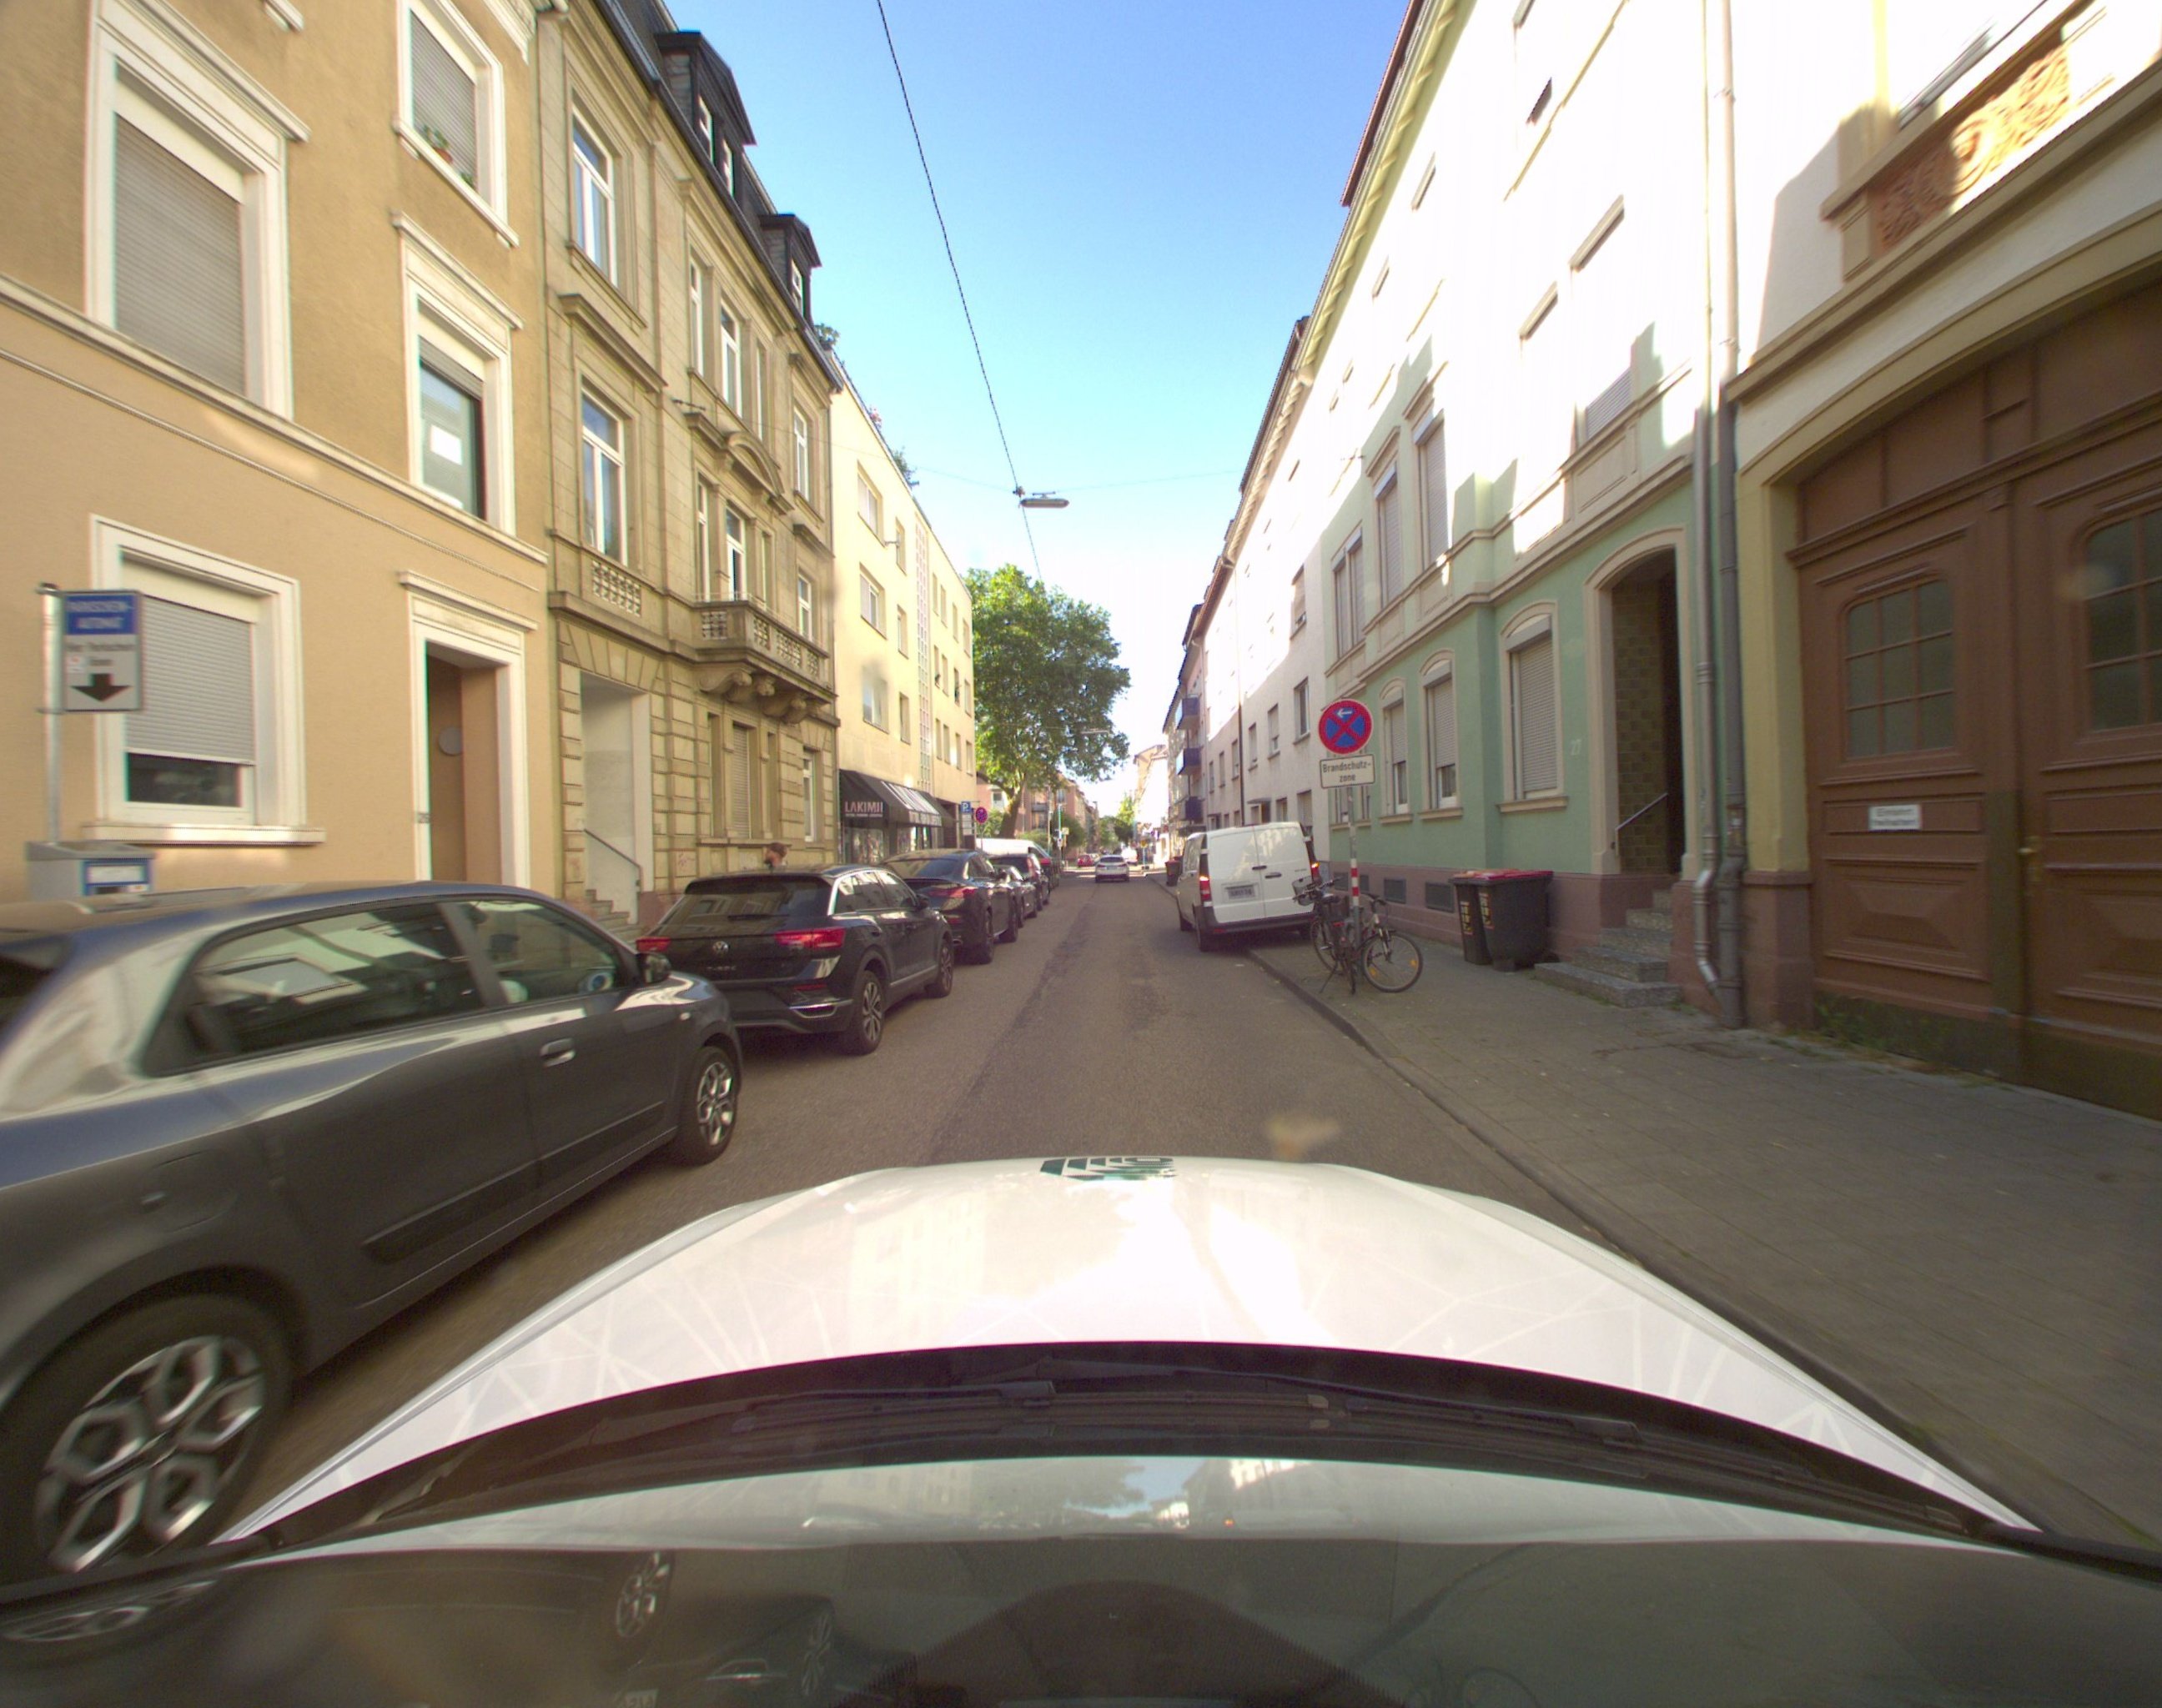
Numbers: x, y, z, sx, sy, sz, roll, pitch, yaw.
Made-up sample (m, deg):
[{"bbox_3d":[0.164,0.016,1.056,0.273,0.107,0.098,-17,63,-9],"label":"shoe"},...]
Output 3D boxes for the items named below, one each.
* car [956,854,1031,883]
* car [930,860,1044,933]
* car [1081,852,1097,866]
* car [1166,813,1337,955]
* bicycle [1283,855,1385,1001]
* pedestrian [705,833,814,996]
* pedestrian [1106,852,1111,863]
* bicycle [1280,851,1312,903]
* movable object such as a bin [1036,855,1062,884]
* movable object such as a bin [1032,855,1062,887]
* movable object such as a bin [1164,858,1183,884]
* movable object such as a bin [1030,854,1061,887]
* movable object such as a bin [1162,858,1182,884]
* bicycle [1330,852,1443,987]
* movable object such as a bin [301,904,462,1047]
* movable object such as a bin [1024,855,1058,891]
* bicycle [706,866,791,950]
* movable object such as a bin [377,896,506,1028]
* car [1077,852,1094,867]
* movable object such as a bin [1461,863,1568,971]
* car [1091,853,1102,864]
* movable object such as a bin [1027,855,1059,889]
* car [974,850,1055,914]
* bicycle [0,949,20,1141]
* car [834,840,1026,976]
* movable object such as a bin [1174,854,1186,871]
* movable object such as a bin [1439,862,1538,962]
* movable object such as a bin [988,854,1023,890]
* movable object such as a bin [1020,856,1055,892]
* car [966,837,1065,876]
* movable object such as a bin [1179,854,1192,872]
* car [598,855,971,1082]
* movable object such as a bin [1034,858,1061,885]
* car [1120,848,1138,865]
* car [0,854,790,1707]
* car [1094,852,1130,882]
[{"bbox_3d":[-4.813,0.820,45.208,3.861,1.505,1.827,-1,-1,1],"label":"car"},{"bbox_3d":[-2.068,0.905,19.294,1.838,1.417,4.821,-3,-1,3],"label":"car"},{"bbox_3d":[0.989,0.594,99.922,1.713,1.682,3.729,-2,0,3],"label":"car"},{"bbox_3d":[2.770,0.421,14.649,1.976,1.883,5.603,-5,0,2],"label":"car"},{"bbox_3d":[2.632,0.692,8.683,0.572,1.320,2.203,-3,0,6],"label":"bicycle"},{"bbox_3d":[-3.829,0.697,9.756,0.862,1.836,0.884,-2,-1,4],"label":"pedestrian"},{"bbox_3d":[4.756,0.597,141.168,0.644,1.797,0.640,-2,-1,3],"label":"pedestrian"},{"bbox_3d":[5.333,0.555,20.277,0.403,1.206,2.163,-2,-1,6],"label":"bicycle"},{"bbox_3d":[-1.616,0.789,41.439,1.296,1.451,1.117,-1,-1,-1],"label":"movable object such as a bin"},{"bbox_3d":[-1.640,0.806,39.247,1.329,1.491,1.082,-1,-1,2],"label":"movable object such as a bin"},{"bbox_3d":[3.914,0.714,34.580,0.729,1.081,0.704,-2,-1,3],"label":"movable object such as a bin"},{"bbox_3d":[-1.672,0.790,38.179,1.338,1.499,1.018,-1,-1,2],"label":"movable object such as a bin"},{"bbox_3d":[3.940,0.728,35.294,0.764,1.086,0.693,-2,-1,3],"label":"movable object such as a bin"},{"bbox_3d":[3.295,0.632,8.982,0.572,1.271,2.203,-4,0,7],"label":"bicycle"},{"bbox_3d":[-5.991,1.015,7.019,0.733,1.089,0.682,-2,1,-1],"label":"movable object such as a bin"},{"bbox_3d":[-1.778,0.846,36.099,1.329,1.484,1.094,-3,-1,2],"label":"movable object such as a bin"},{"bbox_3d":[-5.520,0.858,13.629,0.508,1.277,1.869,-2,-1,4],"label":"bicycle"},{"bbox_3d":[-5.980,0.989,7.640,0.717,1.132,0.584,-2,-1,-1],"label":"movable object such as a bin"},{"bbox_3d":[0.540,0.643,94.332,1.763,1.589,3.728,-2,1,2],"label":"car"},{"bbox_3d":[4.655,0.665,8.786,0.793,1.096,0.643,-2,-1,4],"label":"movable object such as a bin"},{"bbox_3d":[2.448,0.726,126.524,1.566,1.585,3.614,-2,-1,3],"label":"car"},{"bbox_3d":[-1.739,0.806,37.144,1.343,1.487,1.003,-1,-1,2],"label":"movable object such as a bin"},{"bbox_3d":[-1.904,0.762,24.677,1.775,1.666,4.673,-3,0,3],"label":"car"},{"bbox_3d":[-6.215,1.064,3.694,0.400,1.056,1.836,-2,-1,0],"label":"bicycle"},{"bbox_3d":[-2.201,0.720,13.494,1.928,1.736,5.145,-3,0,3],"label":"car"},{"bbox_3d":[6.645,0.580,54.690,0.698,1.073,0.597,-2,-1,4],"label":"movable object such as a bin"},{"bbox_3d":[4.710,0.651,9.457,0.809,1.088,0.674,-2,-1,4],"label":"movable object such as a bin"},{"bbox_3d":[-3.235,0.776,34.980,1.291,1.498,1.179,-1,-1,2],"label":"movable object such as a bin"},{"bbox_3d":[-1.836,0.860,34.925,1.314,1.450,1.188,-3,-1,2],"label":"movable object such as a bin"},{"bbox_3d":[-4.596,0.163,57.712,6.709,2.555,2.148,1,-1,4],"label":"car"},{"bbox_3d":[6.760,0.568,52.738,0.727,1.104,0.693,-2,-1,0],"label":"movable object such as a bin"},{"bbox_3d":[-2.418,0.825,7.976,1.706,1.531,4.372,-3,0,4],"label":"car"},{"bbox_3d":[-1.635,0.870,40.339,1.236,1.322,1.046,-1,-1,2],"label":"movable object such as a bin"},{"bbox_3d":[5.732,0.322,97.369,1.936,1.948,4.078,-1,0,0],"label":"car"},{"bbox_3d":[-2.746,0.809,3.214,1.609,1.553,3.979,-2,0,2],"label":"car"},{"bbox_3d":[1.661,0.681,44.055,1.817,1.514,3.825,-2,0,2],"label":"car"}]
